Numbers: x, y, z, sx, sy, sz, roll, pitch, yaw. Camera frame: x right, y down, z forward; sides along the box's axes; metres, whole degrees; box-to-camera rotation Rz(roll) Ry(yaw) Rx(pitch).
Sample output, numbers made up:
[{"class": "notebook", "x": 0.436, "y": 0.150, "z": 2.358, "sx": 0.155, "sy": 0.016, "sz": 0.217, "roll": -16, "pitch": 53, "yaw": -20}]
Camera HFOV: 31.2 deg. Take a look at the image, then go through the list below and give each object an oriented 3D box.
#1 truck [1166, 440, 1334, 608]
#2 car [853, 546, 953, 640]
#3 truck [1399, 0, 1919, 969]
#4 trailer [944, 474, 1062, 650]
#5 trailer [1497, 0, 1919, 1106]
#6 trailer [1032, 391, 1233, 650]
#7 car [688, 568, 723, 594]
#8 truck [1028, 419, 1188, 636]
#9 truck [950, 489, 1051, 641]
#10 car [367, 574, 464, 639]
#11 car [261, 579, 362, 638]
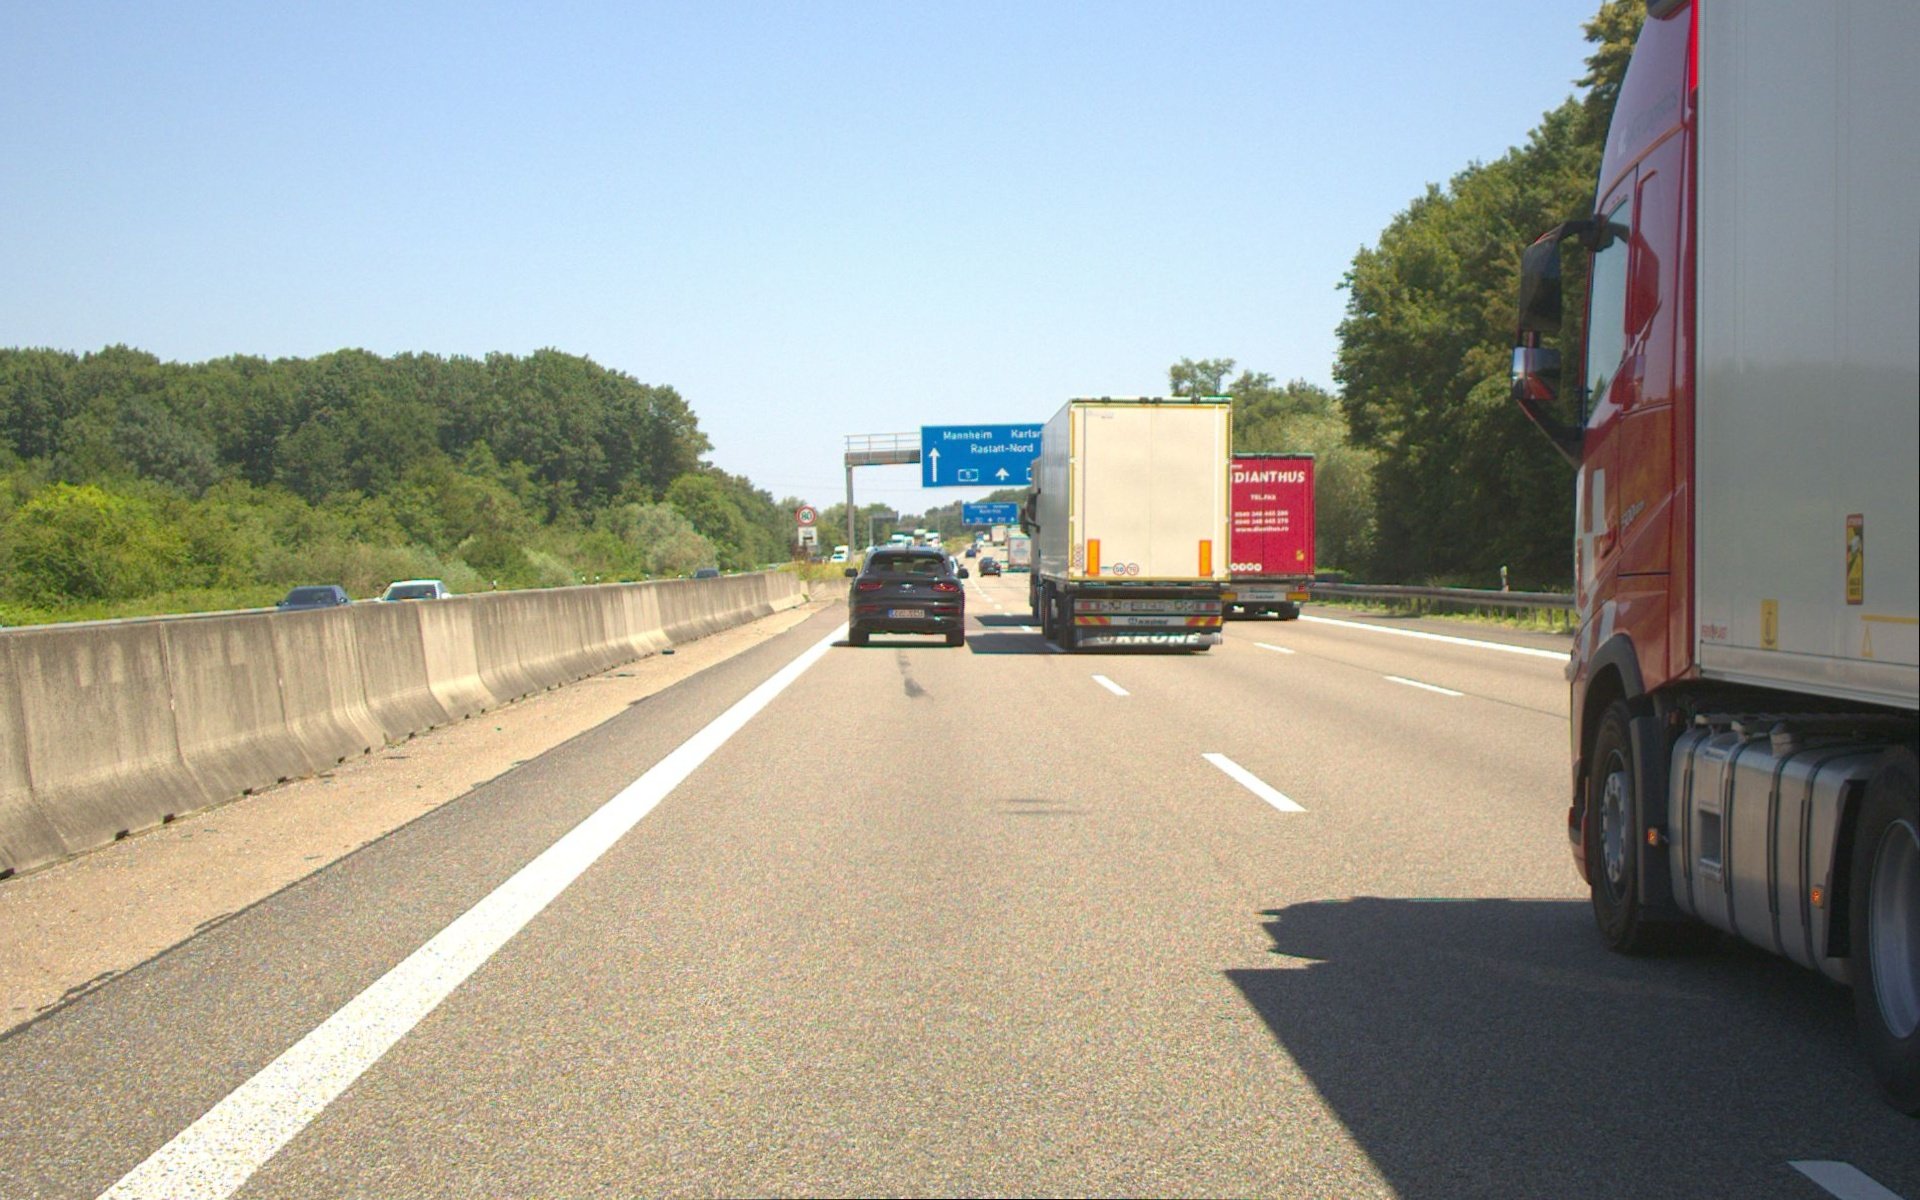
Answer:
[{"class": "truck", "x": 7.498, "y": -1.936, "z": 90.757, "sx": 3.055, "sy": 4.092, "sz": 13.219, "roll": 1, "pitch": 1, "yaw": -1}, {"class": "car", "x": -0.983, "y": -0.149, "z": 59.569, "sx": 1.660, "sy": 1.544, "sz": 3.783, "roll": -1, "pitch": 1, "yaw": -1}, {"class": "truck", "x": 3.749, "y": -0.806, "z": 14.303, "sx": 2.941, "sy": 3.972, "sz": 6.102, "roll": 1, "pitch": 1, "yaw": -1}, {"class": "trailer", "x": 1.049, "y": -0.904, "z": 86.900, "sx": 2.708, "sy": 4.054, "sz": 14.746, "roll": 0, "pitch": 0, "yaw": 0}, {"class": "trailer", "x": 3.868, "y": -0.729, "z": 6.341, "sx": 2.937, "sy": 4.004, "sz": 16.201, "roll": 1, "pitch": 1, "yaw": -1}, {"class": "trailer", "x": 2.822, "y": -1.317, "z": 59.781, "sx": 2.795, "sy": 4.021, "sz": 12.568, "roll": 0, "pitch": 1, "yaw": 0}, {"class": "car", "x": -15.061, "y": -1.109, "z": 203.835, "sx": 1.769, "sy": 1.466, "sz": 4.000, "roll": -2, "pitch": 1, "yaw": 0}, {"class": "truck", "x": 2.787, "y": -1.375, "z": 66.374, "sx": 2.800, "sy": 3.993, "sz": 6.021, "roll": 0, "pitch": 1, "yaw": 0}, {"class": "truck", "x": 1.118, "y": -0.961, "z": 96.231, "sx": 2.700, "sy": 4.080, "sz": 6.453, "roll": 0, "pitch": 0, "yaw": 0}, {"class": "car", "x": -14.256, "y": 0.151, "z": 90.245, "sx": 1.773, "sy": 1.533, "sz": 4.684, "roll": -2, "pitch": 1, "yaw": -1}, {"class": "car", "x": -18.175, "y": 0.219, "z": 96.571, "sx": 1.908, "sy": 1.474, "sz": 4.825, "roll": -3, "pitch": 1, "yaw": 0}]
